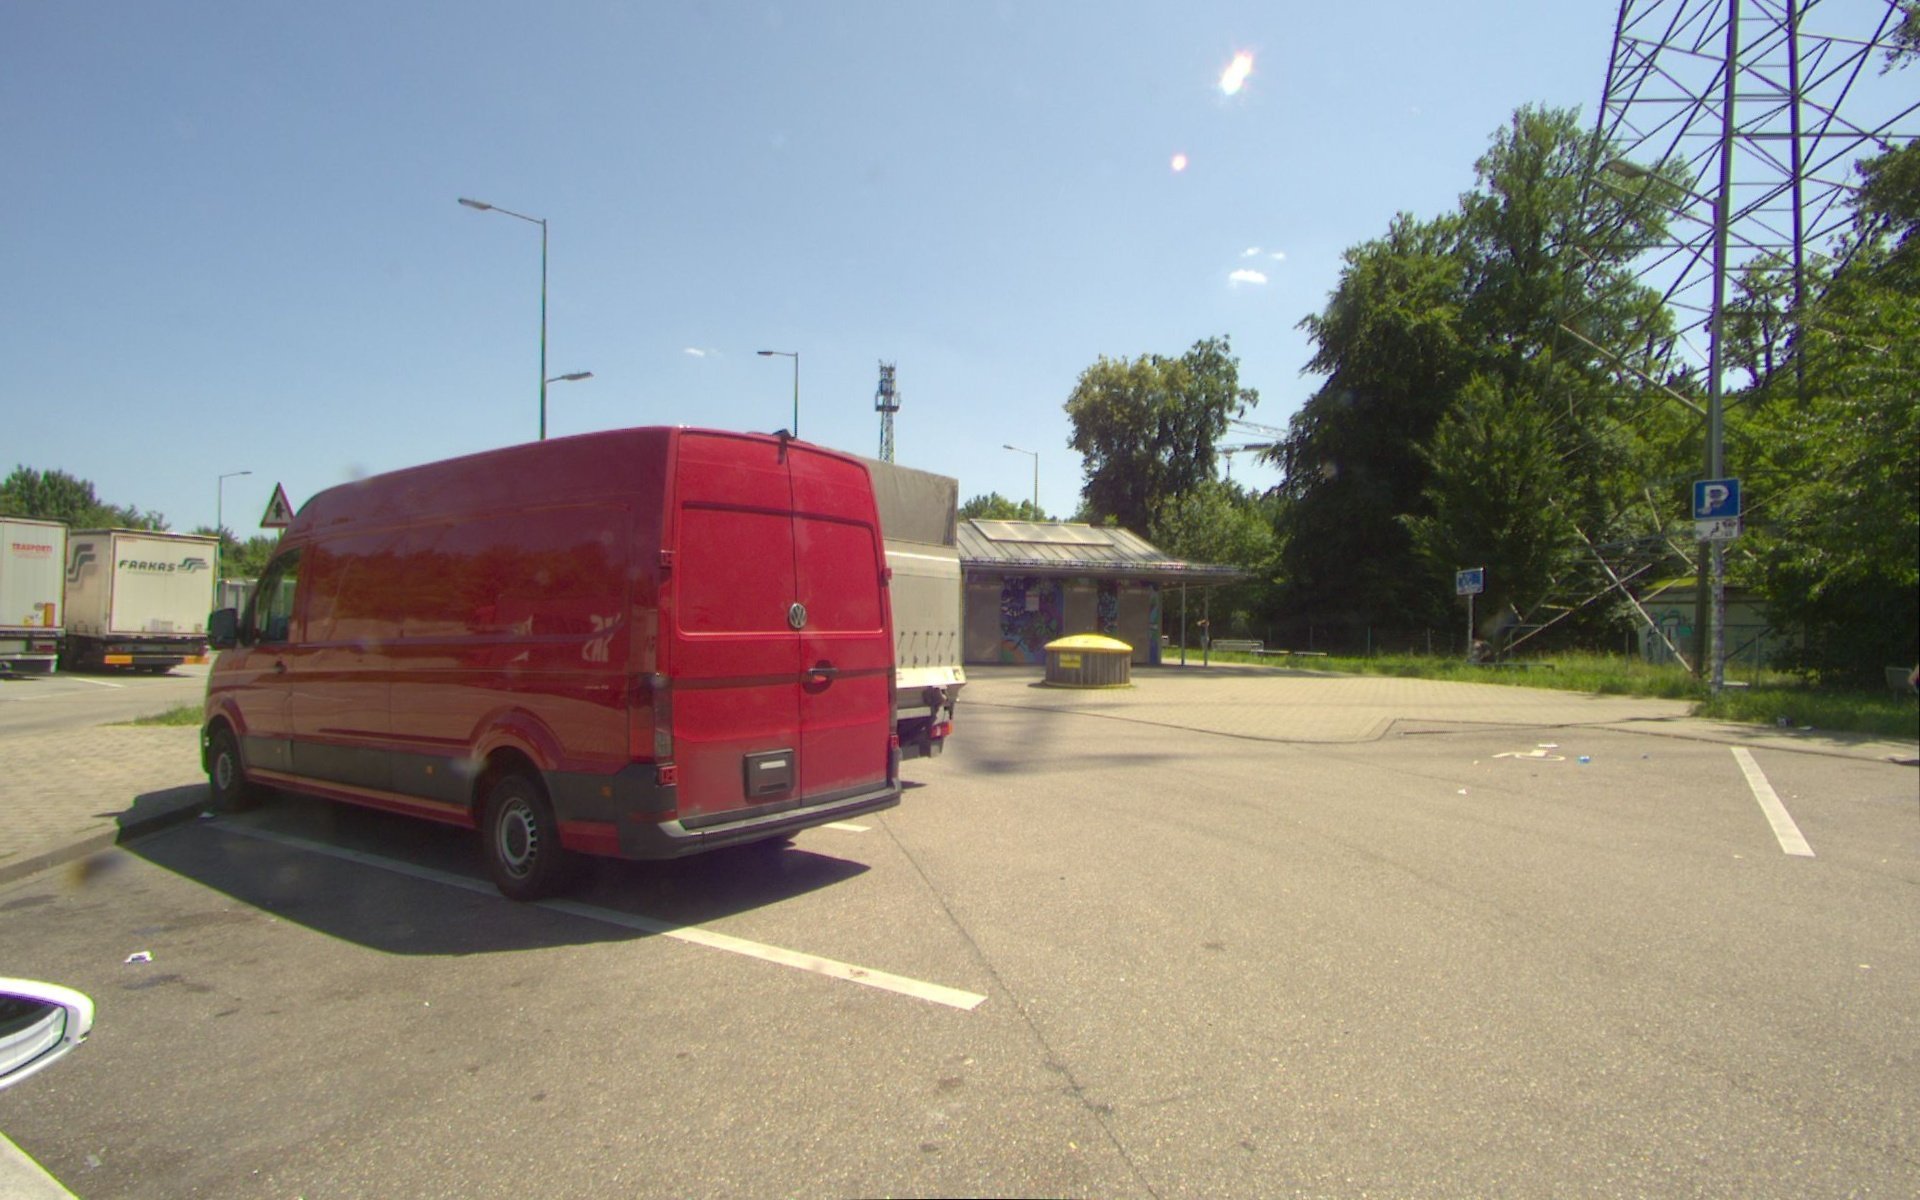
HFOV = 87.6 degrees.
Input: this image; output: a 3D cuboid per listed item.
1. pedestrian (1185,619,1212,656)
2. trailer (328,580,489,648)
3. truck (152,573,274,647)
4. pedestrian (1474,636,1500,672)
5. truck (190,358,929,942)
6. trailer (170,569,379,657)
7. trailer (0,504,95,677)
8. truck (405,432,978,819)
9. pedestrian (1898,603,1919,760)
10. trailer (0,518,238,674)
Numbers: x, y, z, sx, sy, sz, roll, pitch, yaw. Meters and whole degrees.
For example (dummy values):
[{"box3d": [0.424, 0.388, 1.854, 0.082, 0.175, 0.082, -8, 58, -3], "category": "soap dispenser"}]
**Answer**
[{"box3d": [10.535, 1.662, 44.225, 0.904, 1.639, 0.813, 0, -1, -12], "category": "pedestrian"}, {"box3d": [-36.177, 0.854, 65.322, 13.561, 3.955, 2.854, 1, -2, 32], "category": "trailer"}, {"box3d": [-37.552, 0.483, 50.306, 5.887, 3.406, 2.862, 1, -2, 32], "category": "truck"}, {"box3d": [14.644, 1.495, 27.812, 0.439, 0.987, 0.460, 0, -1, -19], "category": "pedestrian"}, {"box3d": [-3.332, 0.305, 7.328, 6.372, 2.685, 2.005, -1, -2, 37], "category": "truck"}, {"box3d": [-32.480, 0.492, 47.084, 13.561, 3.646, 2.854, 1, -2, 32], "category": "trailer"}, {"box3d": [-28.687, -0.335, 28.007, 13.561, 4.162, 2.854, 1, -2, 32], "category": "trailer"}, {"box3d": [-3.082, 0.277, 10.512, 6.372, 2.944, 2.411, -1, -2, 37], "category": "truck"}, {"box3d": [10.593, 0.862, 10.576, 0.674, 1.670, 0.715, 0, -1, -8], "category": "pedestrian"}, {"box3d": [-27.615, -0.162, 31.595, 13.561, 4.162, 2.854, 1, -2, 32], "category": "trailer"}]
